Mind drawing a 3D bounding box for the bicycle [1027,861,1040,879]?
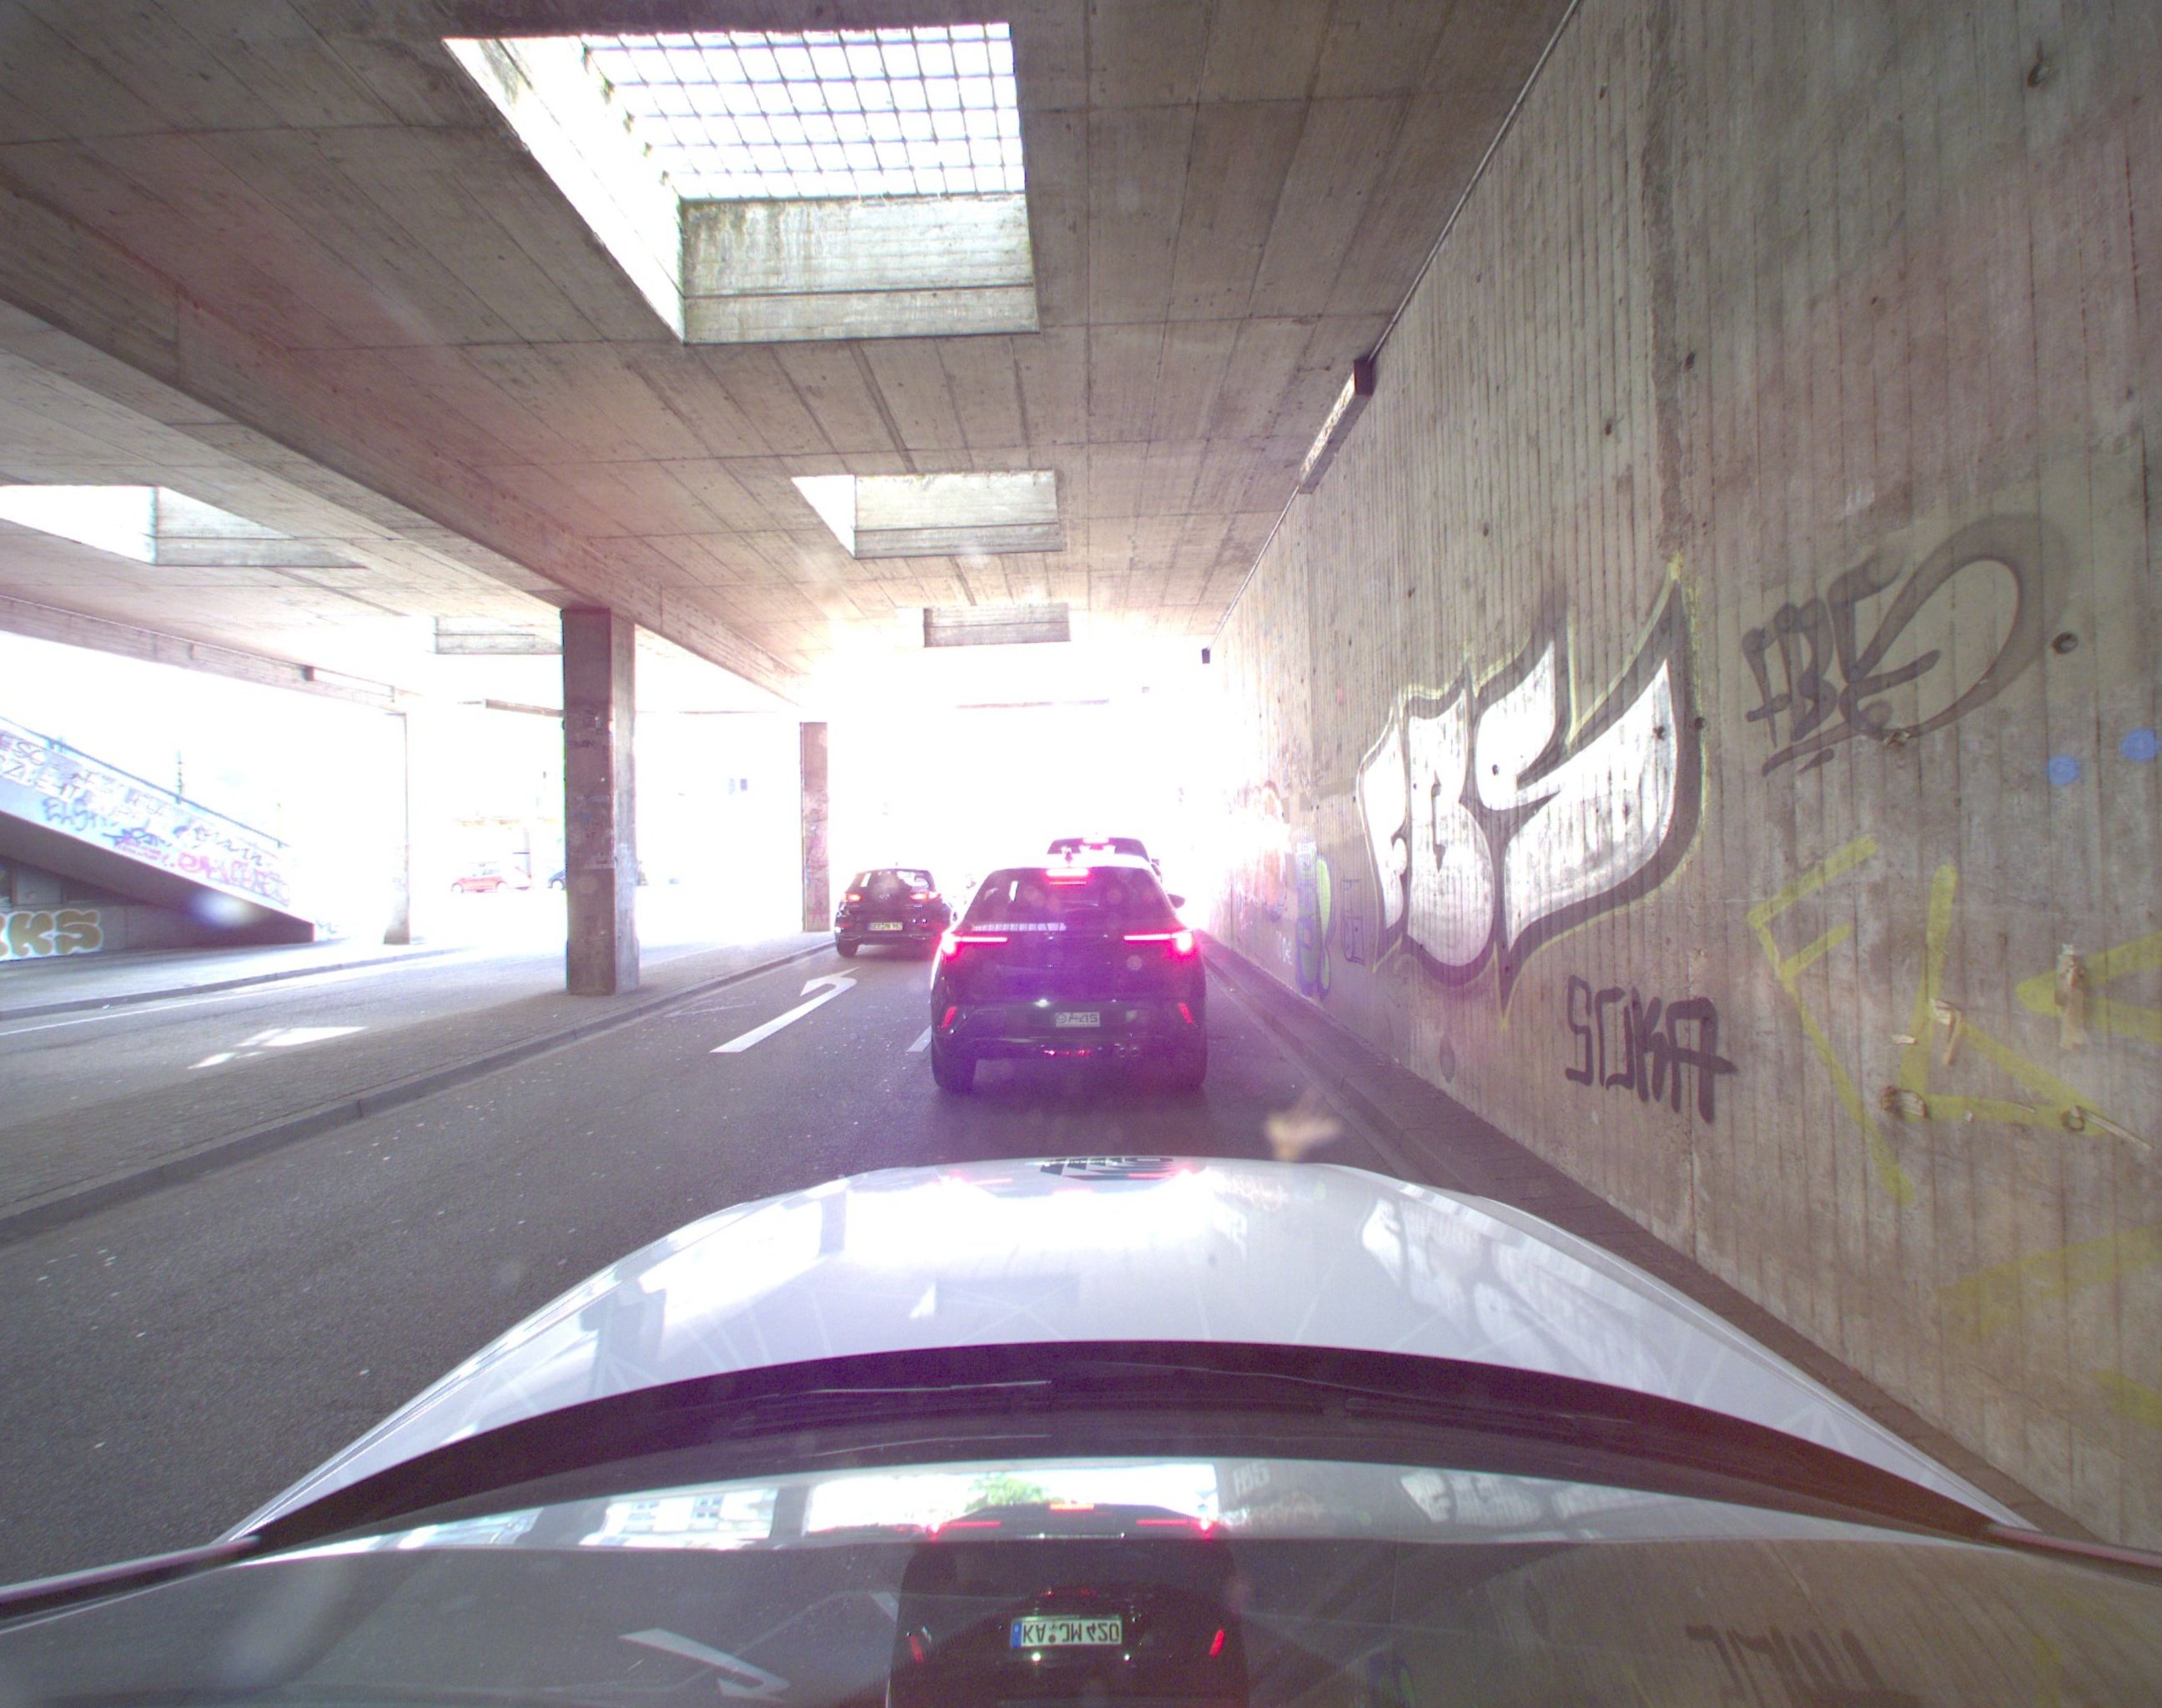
[{"bbox_3d":[-3.055,1.024,52.563,0.539,1.123,2.060,-1,0,3],"label":"bicycle"}]

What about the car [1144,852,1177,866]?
[{"bbox_3d":[13.070,0.831,134.038,4.905,2.083,1.970,-2,-1,-23],"label":"car"}]

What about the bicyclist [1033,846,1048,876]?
[{"bbox_3d":[-2.384,0.392,48.410,0.742,1.711,0.968,-2,1,4],"label":"bicyclist"}]

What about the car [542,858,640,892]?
[{"bbox_3d":[-27.205,1.140,45.310,4.144,1.724,1.964,-1,1,2],"label":"car"}]

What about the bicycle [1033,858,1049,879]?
[{"bbox_3d":[-2.377,0.859,48.385,0.695,1.090,1.863,-1,2,5],"label":"bicycle"}]

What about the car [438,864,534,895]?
[{"bbox_3d":[-32.988,1.404,45.217,3.863,1.540,1.900,-1,1,2],"label":"car"}]

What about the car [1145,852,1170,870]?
[{"bbox_3d":[7.060,0.643,74.995,1.693,1.512,3.877,-3,-1,13],"label":"car"}]

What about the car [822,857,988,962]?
[{"bbox_3d":[-2.783,0.806,13.894,1.794,1.451,4.327,-2,0,1],"label":"car"}]

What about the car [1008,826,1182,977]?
[{"bbox_3d":[0.254,0.590,12.640,2.125,1.835,4.942,-2,0,2],"label":"car"}]

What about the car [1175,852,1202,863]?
[{"bbox_3d":[21.162,0.650,160.635,4.888,2.083,1.977,-2,-1,-12],"label":"car"}]

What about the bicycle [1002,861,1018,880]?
[{"bbox_3d":[-4.267,1.010,49.080,0.523,1.090,1.864,-1,0,7],"label":"bicycle"}]

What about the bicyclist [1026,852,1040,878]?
[{"bbox_3d":[-3.081,0.685,52.569,0.778,1.660,1.032,-2,0,3],"label":"bicyclist"}]

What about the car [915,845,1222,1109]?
[{"bbox_3d":[-0.016,0.716,6.625,1.775,1.517,3.757,-1,0,2],"label":"car"}]

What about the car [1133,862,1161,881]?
[{"bbox_3d":[5.545,1.462,68.288,1.695,1.452,3.865,-2,0,14],"label":"car"}]

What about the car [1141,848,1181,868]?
[{"bbox_3d":[11.388,0.568,116.059,5.267,2.545,1.976,-2,-1,-14],"label":"car"}]

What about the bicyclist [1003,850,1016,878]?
[{"bbox_3d":[-4.303,0.610,49.063,0.602,1.632,0.911,-2,0,7],"label":"bicyclist"}]

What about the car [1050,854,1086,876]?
[{"bbox_3d":[-0.892,0.772,59.305,1.645,1.441,3.478,-2,0,16],"label":"car"}]
